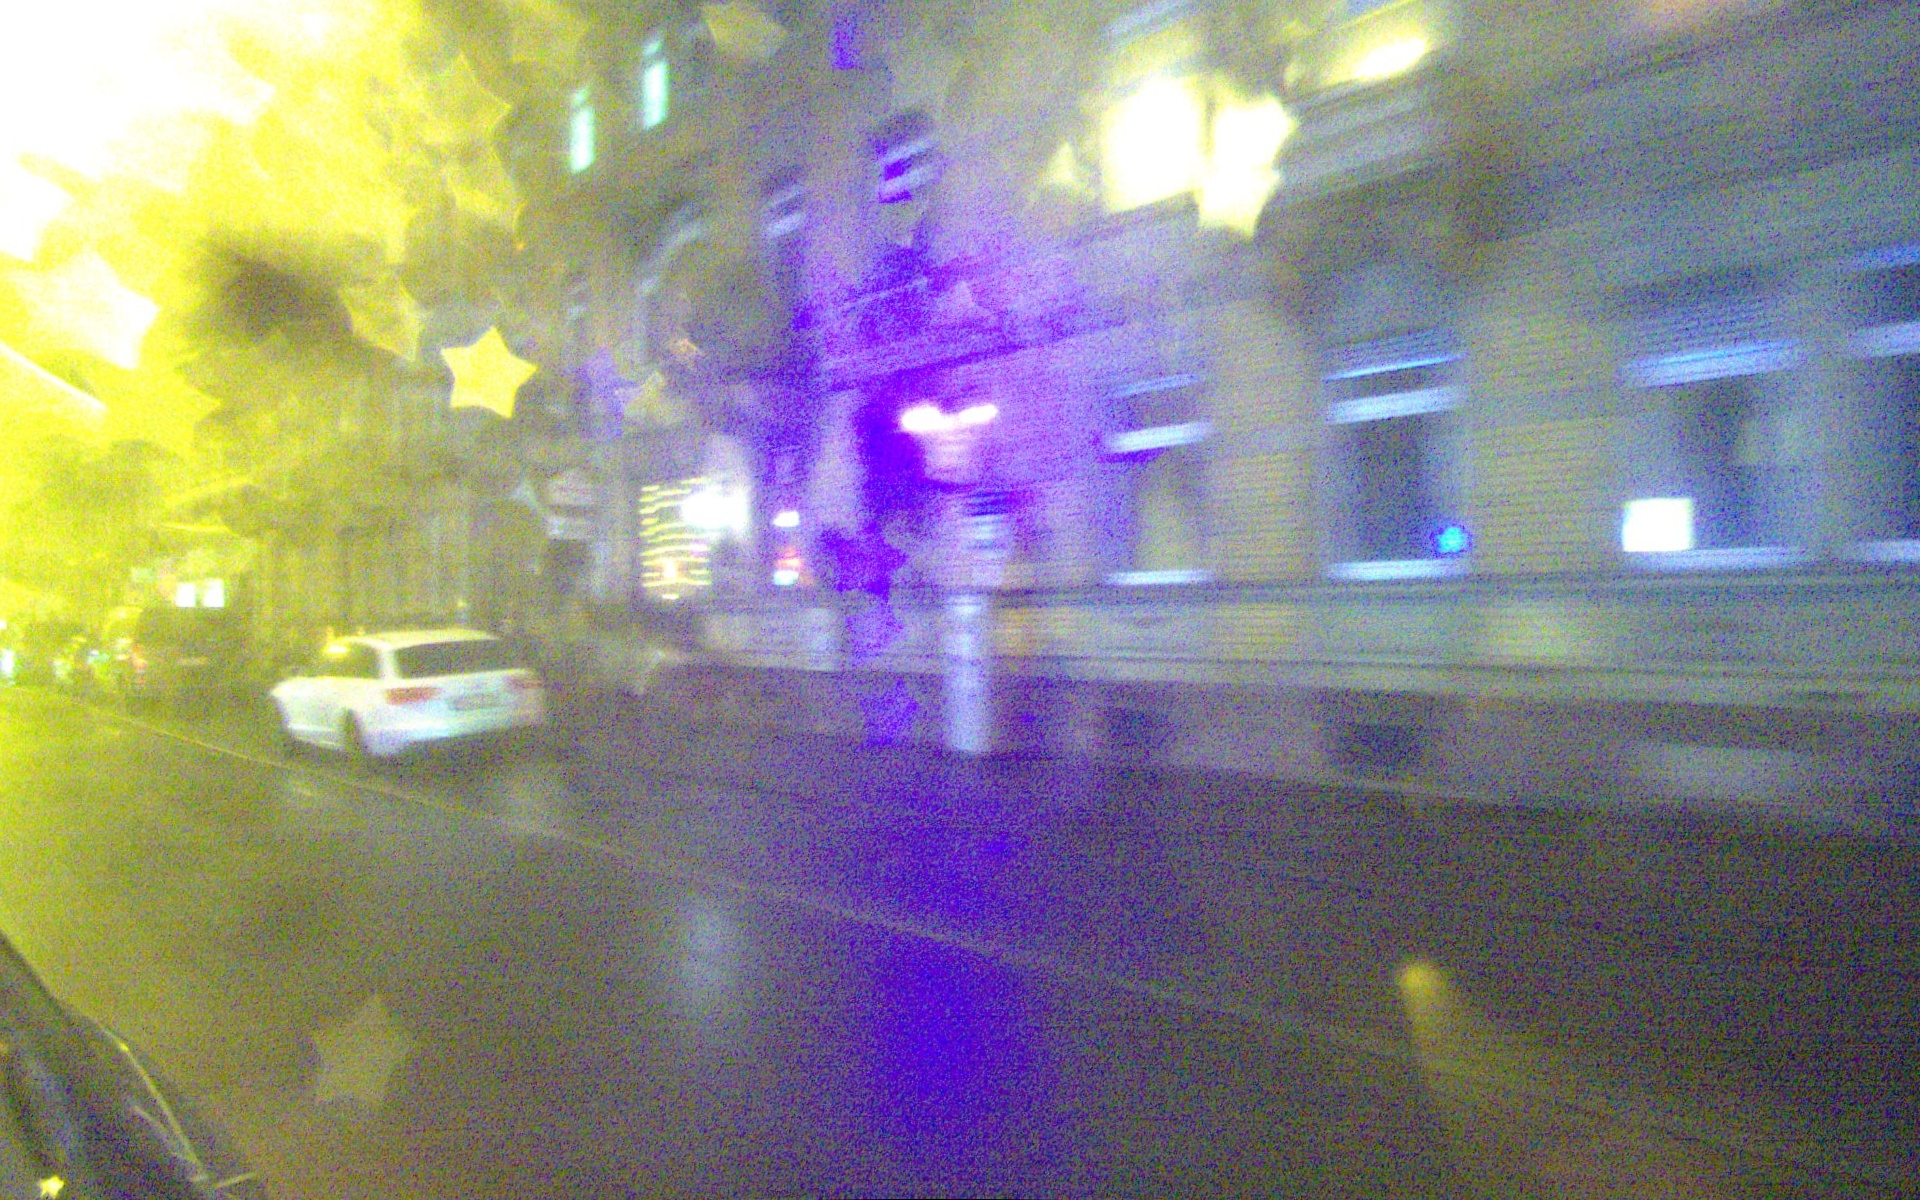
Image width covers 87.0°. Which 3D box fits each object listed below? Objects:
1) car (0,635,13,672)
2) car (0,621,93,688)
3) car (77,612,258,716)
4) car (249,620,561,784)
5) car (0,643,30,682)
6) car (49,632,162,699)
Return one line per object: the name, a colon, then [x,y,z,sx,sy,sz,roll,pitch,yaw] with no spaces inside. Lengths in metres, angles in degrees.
car: [-40.767,2.220,42.044,4.271,1.465,1.708,-2,-2,42]
car: [-27.405,1.581,30.038,4.827,1.843,1.882,-2,-2,42]
car: [-16.033,1.213,20.355,5.204,1.843,1.975,-2,-2,42]
car: [-6.762,1.070,12.066,4.770,1.494,1.749,-2,1,42]
car: [-36.412,2.321,38.031,4.553,1.402,1.708,-2,-2,42]
car: [-20.526,1.526,24.258,3.718,1.471,1.552,-2,-2,42]
